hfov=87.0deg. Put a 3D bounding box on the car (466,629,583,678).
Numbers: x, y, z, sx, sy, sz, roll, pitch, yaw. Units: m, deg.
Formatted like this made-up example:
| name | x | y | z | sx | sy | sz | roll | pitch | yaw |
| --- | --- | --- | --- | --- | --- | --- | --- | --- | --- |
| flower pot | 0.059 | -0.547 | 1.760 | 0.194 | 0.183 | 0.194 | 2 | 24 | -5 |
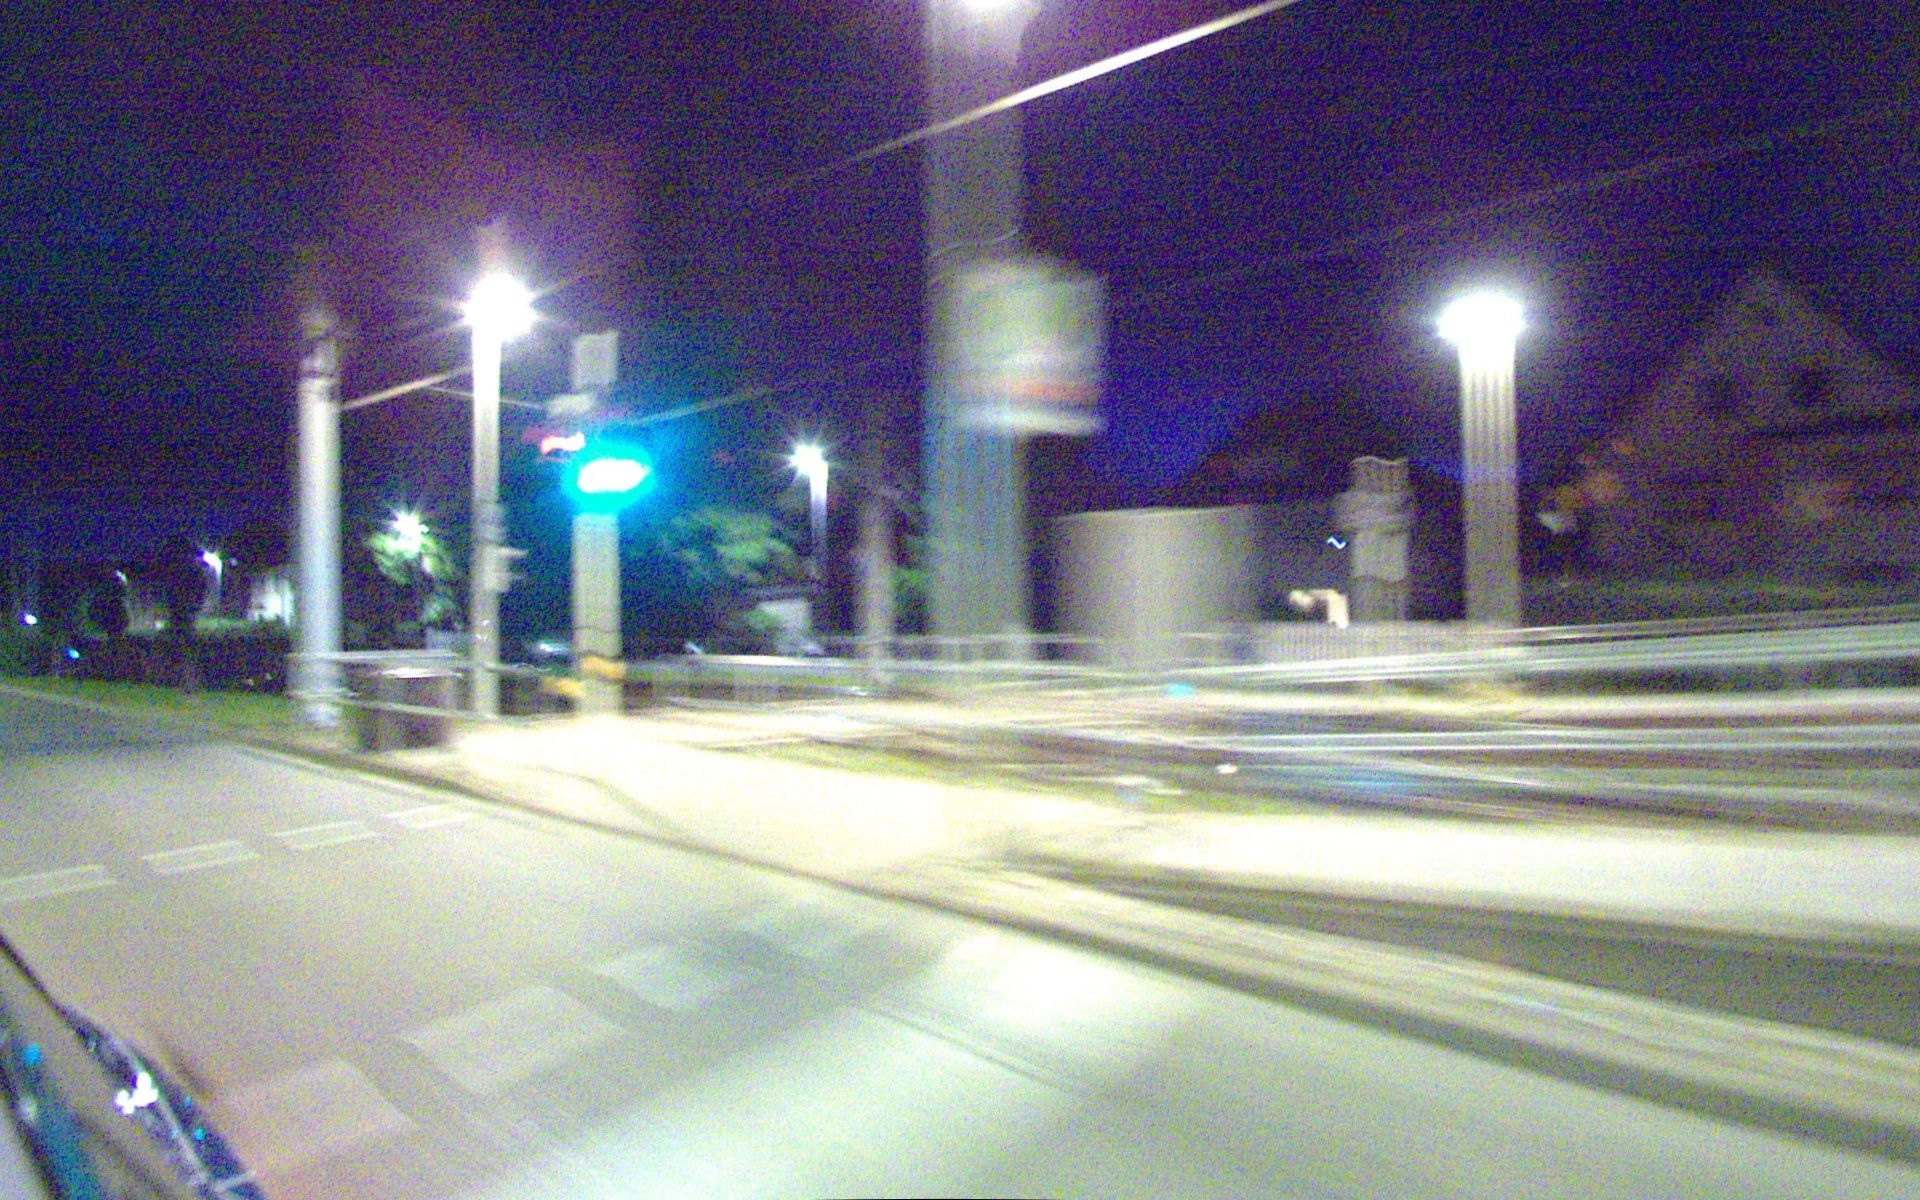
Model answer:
| name | x | y | z | sx | sy | sz | roll | pitch | yaw |
| --- | --- | --- | --- | --- | --- | --- | --- | --- | --- |
| car | -14.413 | 1.717 | 33.456 | 4.089 | 1.516 | 1.847 | -2 | -2 | 38 |
